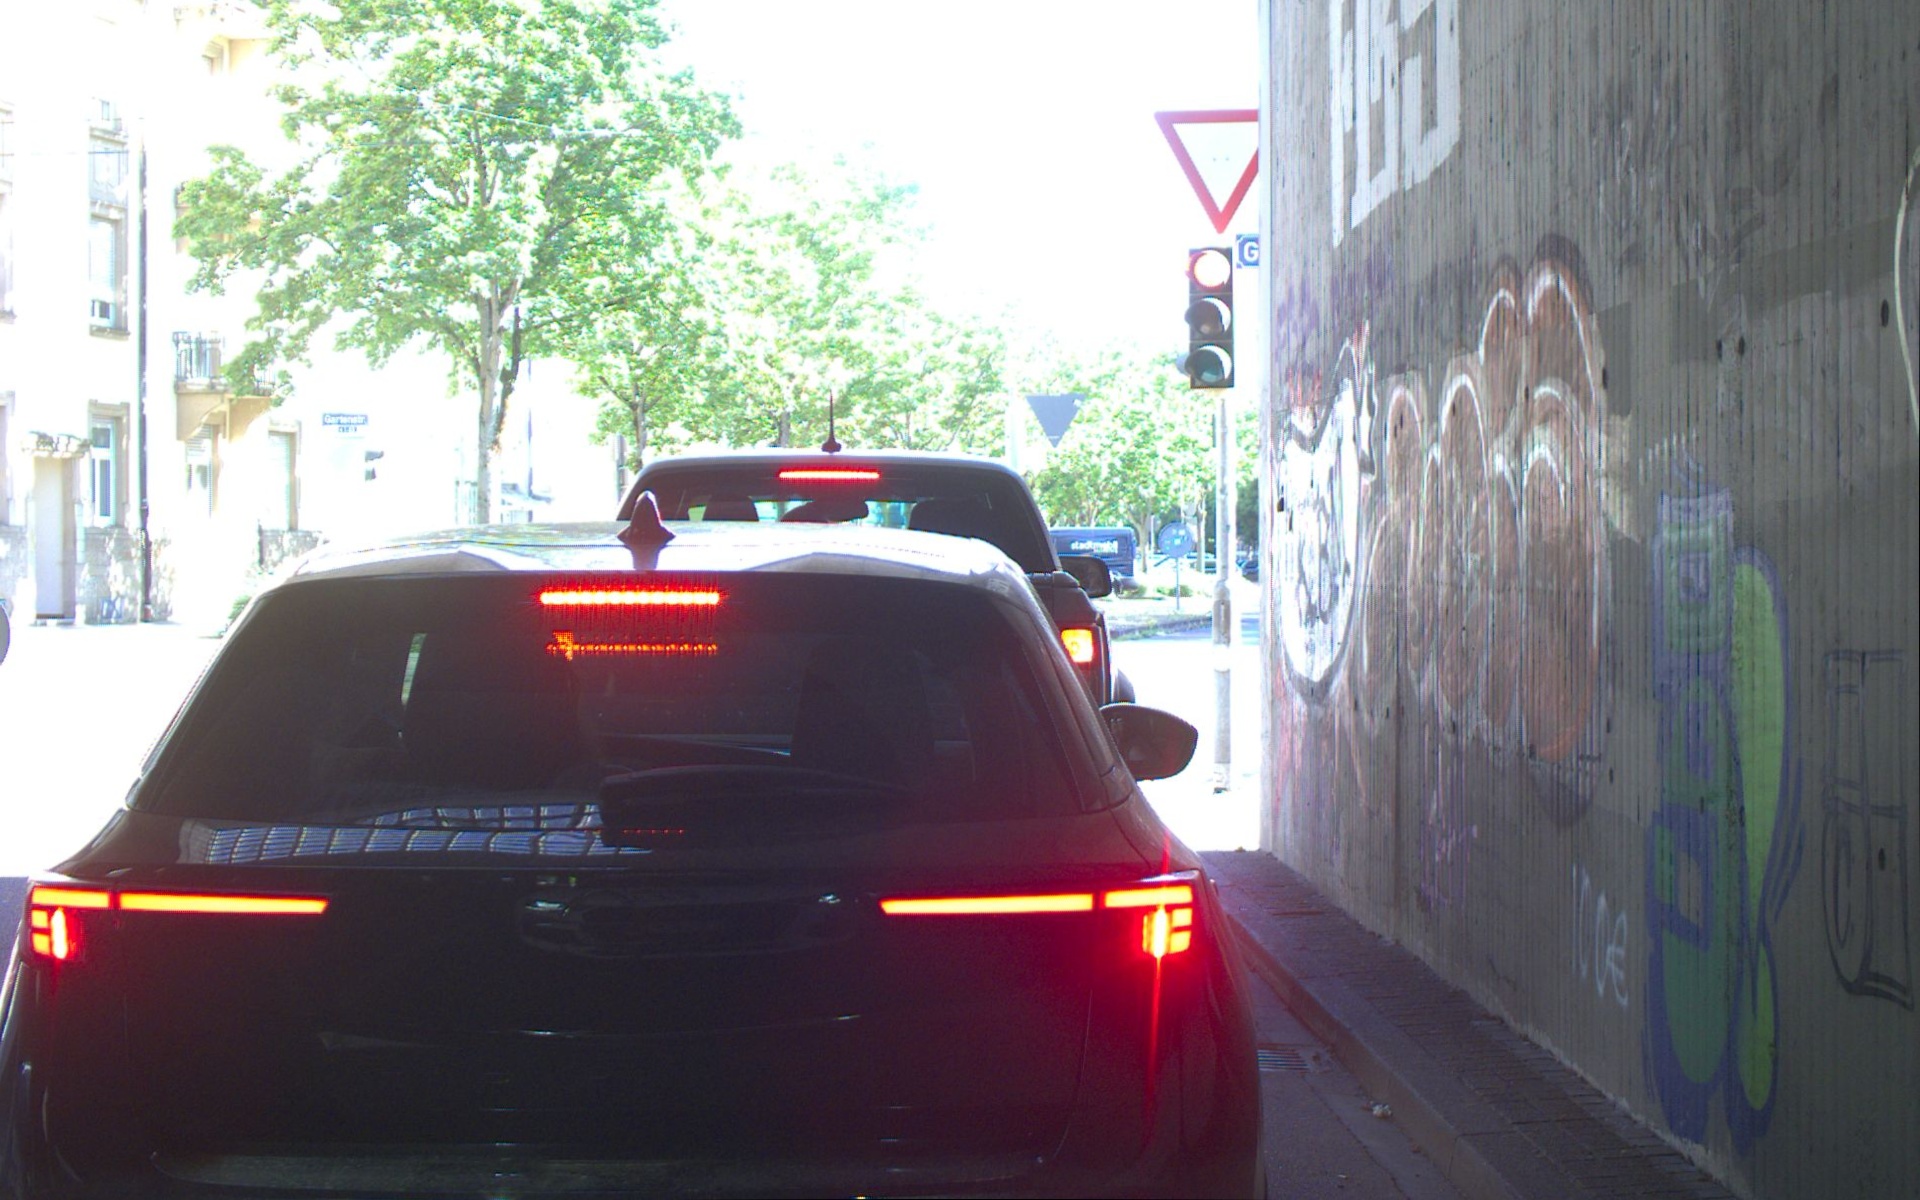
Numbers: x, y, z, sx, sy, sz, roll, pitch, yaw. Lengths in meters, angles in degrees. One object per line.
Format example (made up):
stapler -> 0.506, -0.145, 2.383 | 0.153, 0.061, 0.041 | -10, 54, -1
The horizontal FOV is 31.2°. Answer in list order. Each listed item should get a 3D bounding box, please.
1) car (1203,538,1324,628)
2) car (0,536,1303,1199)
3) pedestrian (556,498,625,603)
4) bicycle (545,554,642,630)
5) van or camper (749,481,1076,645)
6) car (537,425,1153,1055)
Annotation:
car -> 5.776, -0.360, 65.828 | 1.993, 1.635, 4.593 | 0, 1, 1
car -> -0.484, 0.649, 6.156 | 1.753, 1.493, 4.000 | 1, 1, 0
pedestrian -> -5.609, -0.749, 52.196 | 0.736, 1.579, 0.889 | 1, 0, 15
bicycle -> -5.563, -0.134, 52.343 | 0.737, 1.126, 2.025 | 0, 1, 17
van or camper -> -0.569, -0.473, 43.384 | 3.878, 2.007, 2.000 | 0, 1, 7
car -> -0.355, 0.372, 12.051 | 1.786, 1.827, 3.961 | 1, 1, 0
